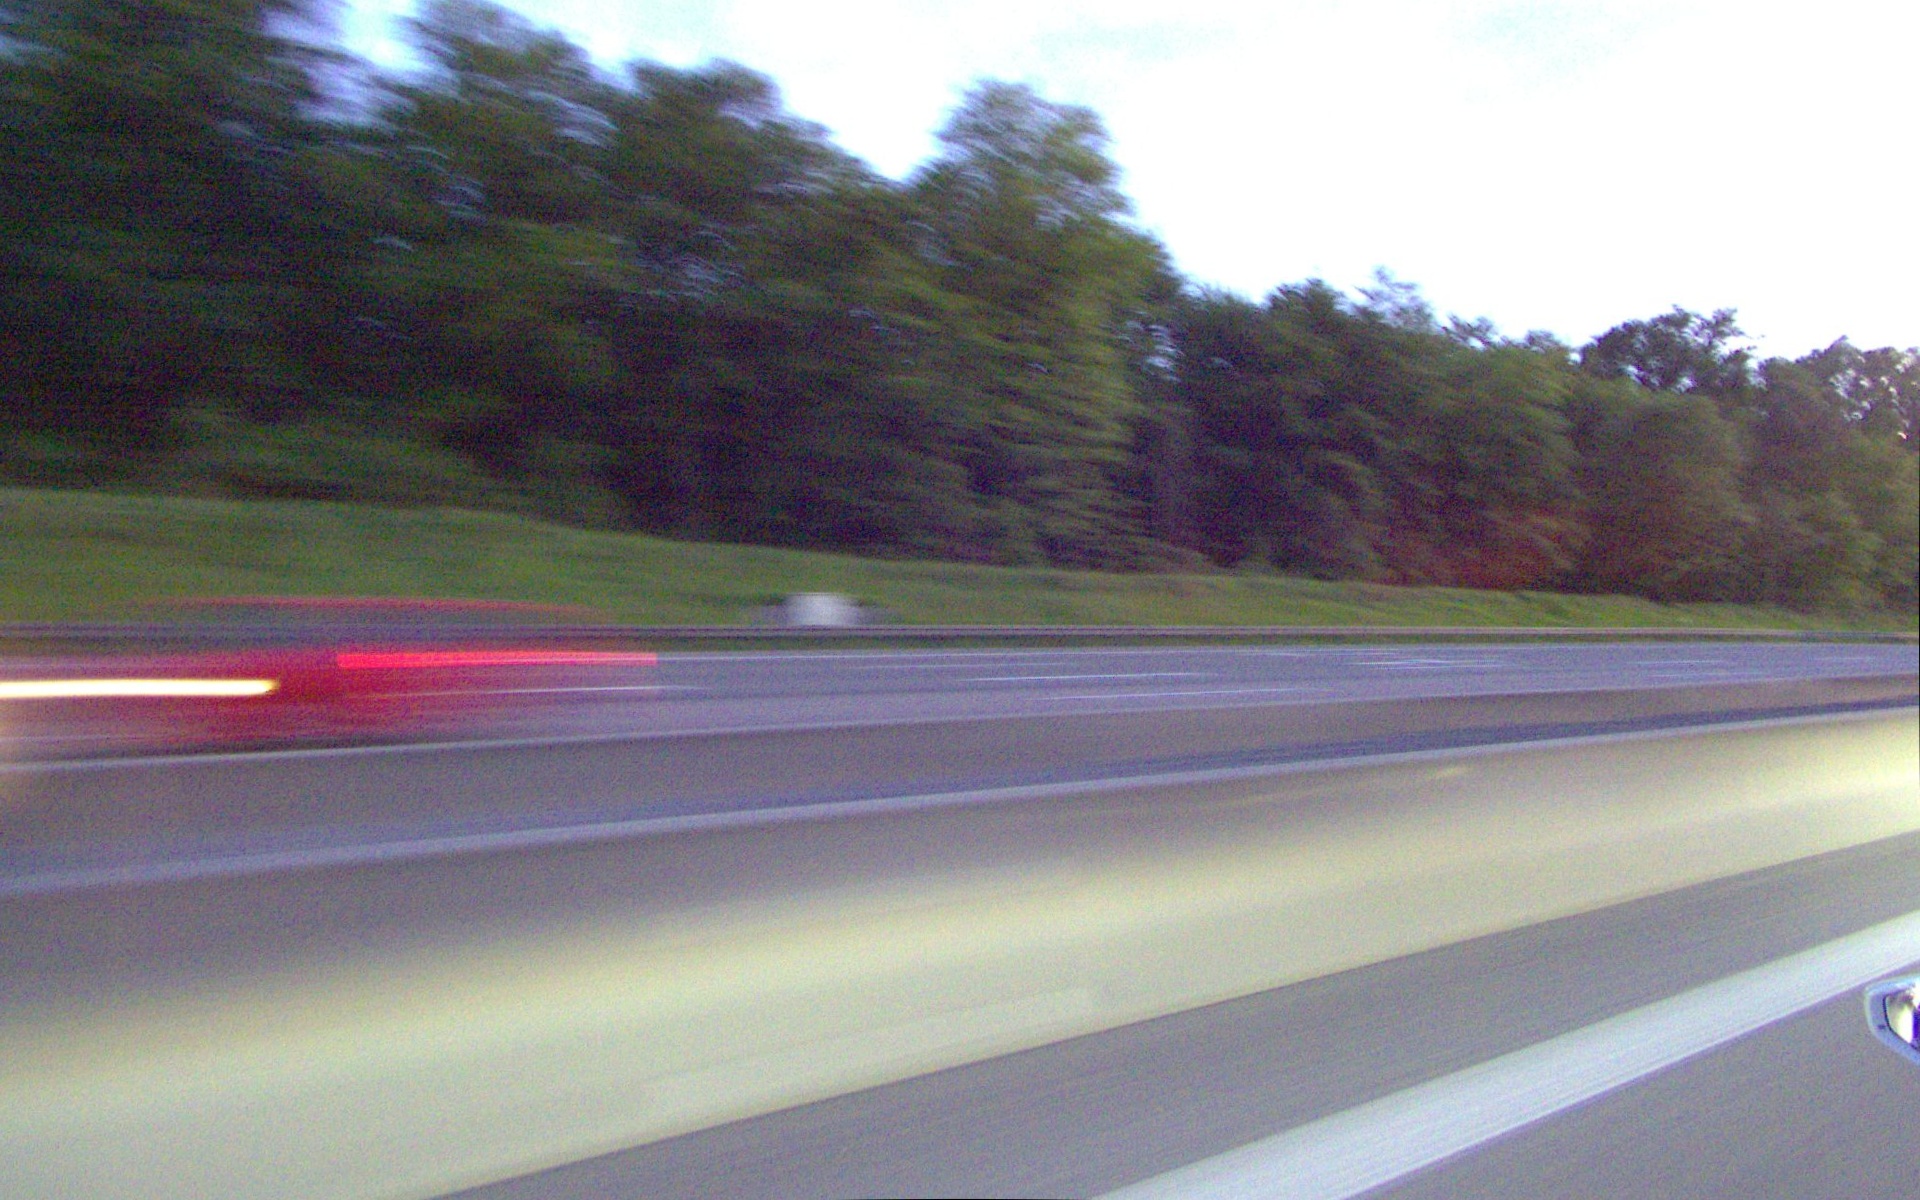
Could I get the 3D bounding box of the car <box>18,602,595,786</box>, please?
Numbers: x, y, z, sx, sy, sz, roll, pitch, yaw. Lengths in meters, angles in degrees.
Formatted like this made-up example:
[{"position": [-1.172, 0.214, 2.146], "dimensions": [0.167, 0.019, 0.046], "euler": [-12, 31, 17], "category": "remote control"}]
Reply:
[{"position": [-5.874, 0.788, 9.604], "dimensions": [4.264, 1.424, 1.611], "euler": [2, -1, -30], "category": "car"}]
